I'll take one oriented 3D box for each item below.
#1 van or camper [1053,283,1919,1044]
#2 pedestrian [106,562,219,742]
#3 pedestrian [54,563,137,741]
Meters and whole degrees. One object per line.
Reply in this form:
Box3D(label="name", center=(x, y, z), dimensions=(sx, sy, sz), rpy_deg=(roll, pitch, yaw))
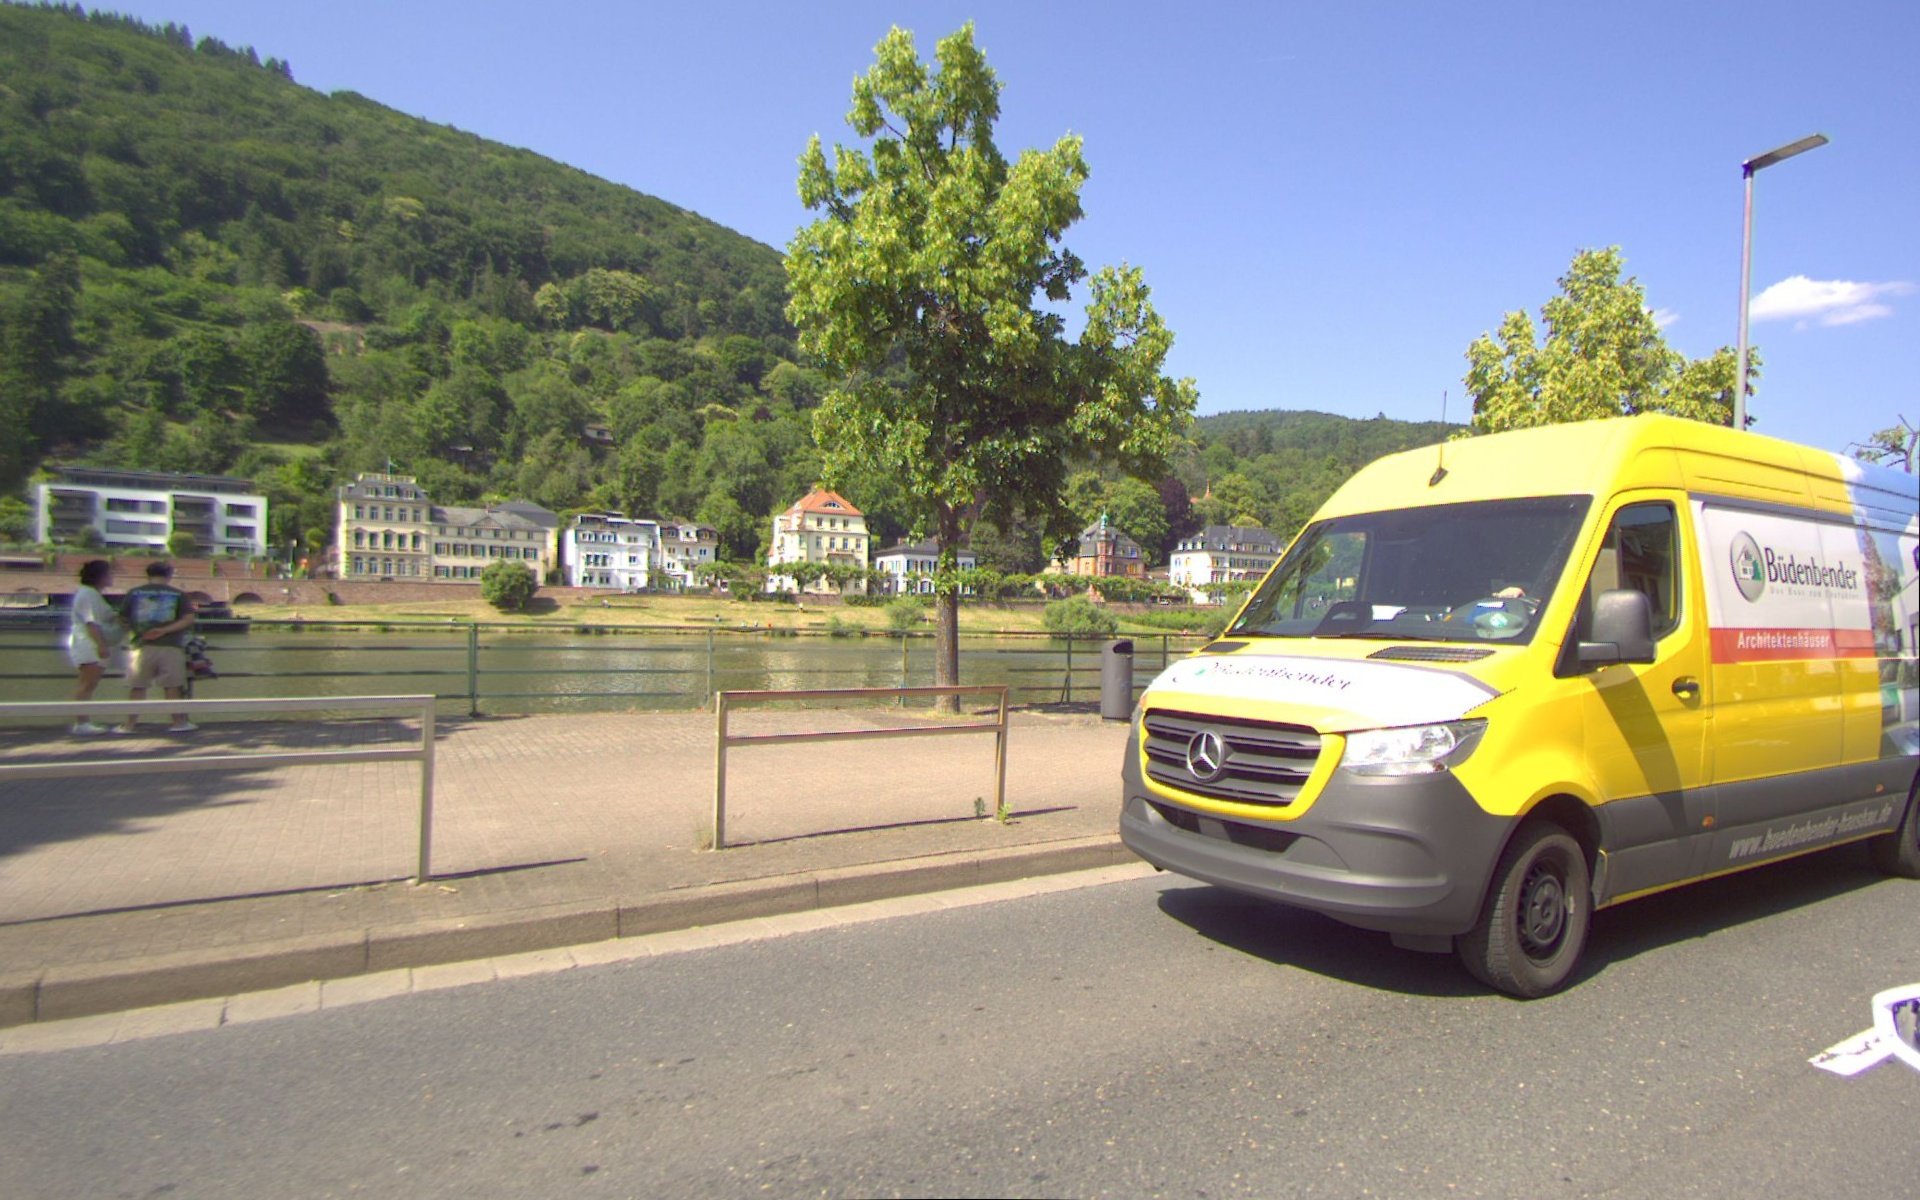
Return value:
Box3D(label="van or camper", center=(4.026, 0.326, 6.161), dimensions=(7.013, 2.591, 2.076), rpy_deg=(2, -1, -32))
Box3D(label="pedestrian", center=(-7.616, 0.486, 9.624), dimensions=(0.654, 1.637, 0.691), rpy_deg=(2, -1, -25))
Box3D(label="pedestrian", center=(-8.072, 0.478, 9.389), dimensions=(0.444, 1.619, 0.413), rpy_deg=(2, -1, -25))
